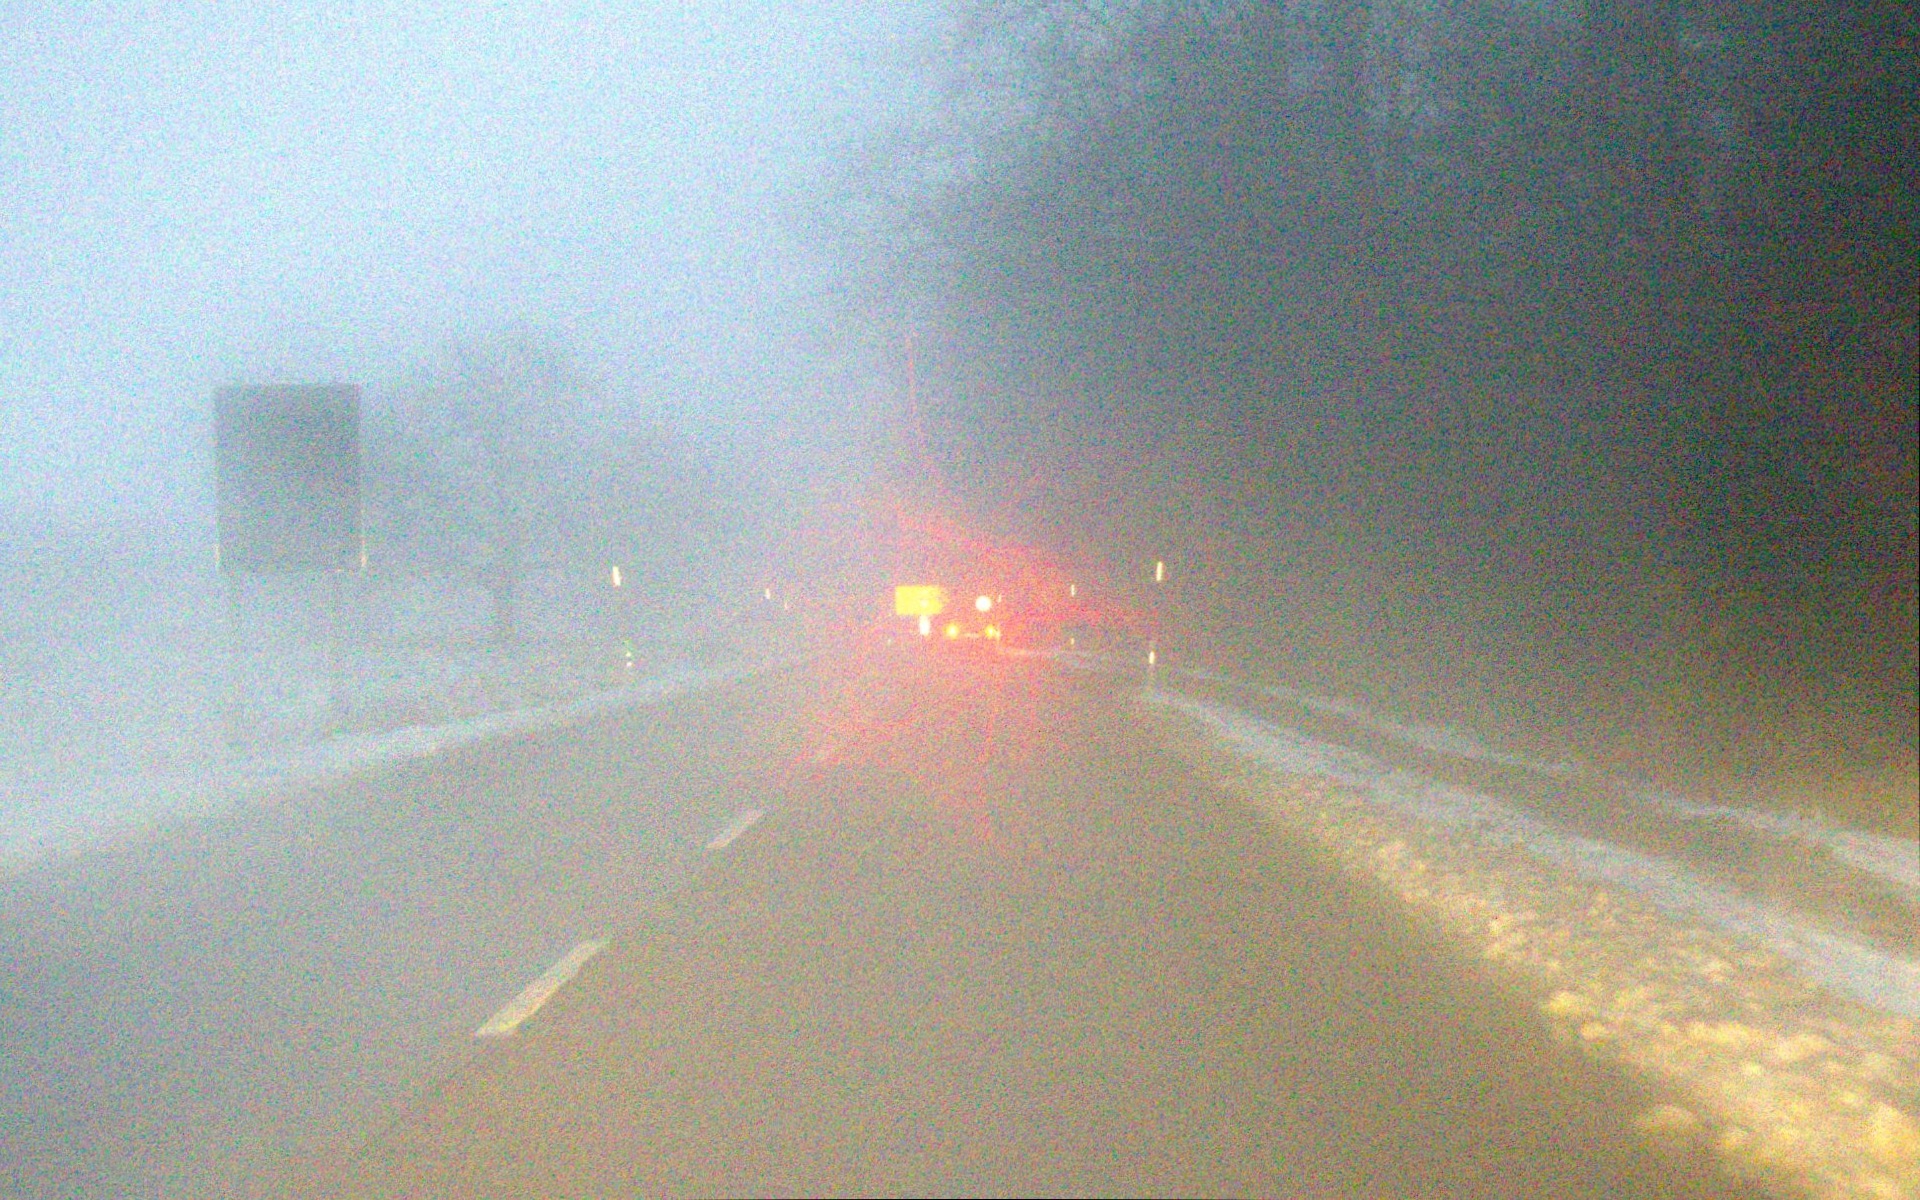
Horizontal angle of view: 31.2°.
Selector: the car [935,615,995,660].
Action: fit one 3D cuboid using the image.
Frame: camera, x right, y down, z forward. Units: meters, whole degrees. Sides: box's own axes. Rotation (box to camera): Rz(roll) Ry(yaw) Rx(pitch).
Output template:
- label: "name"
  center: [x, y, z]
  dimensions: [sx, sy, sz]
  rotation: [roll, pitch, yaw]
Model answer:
- label: "car"
  center: [0.155, 1.270, 117.909]
  dimensions: [1.993, 1.415, 4.000]
  rotation: [-1, 1, -1]
